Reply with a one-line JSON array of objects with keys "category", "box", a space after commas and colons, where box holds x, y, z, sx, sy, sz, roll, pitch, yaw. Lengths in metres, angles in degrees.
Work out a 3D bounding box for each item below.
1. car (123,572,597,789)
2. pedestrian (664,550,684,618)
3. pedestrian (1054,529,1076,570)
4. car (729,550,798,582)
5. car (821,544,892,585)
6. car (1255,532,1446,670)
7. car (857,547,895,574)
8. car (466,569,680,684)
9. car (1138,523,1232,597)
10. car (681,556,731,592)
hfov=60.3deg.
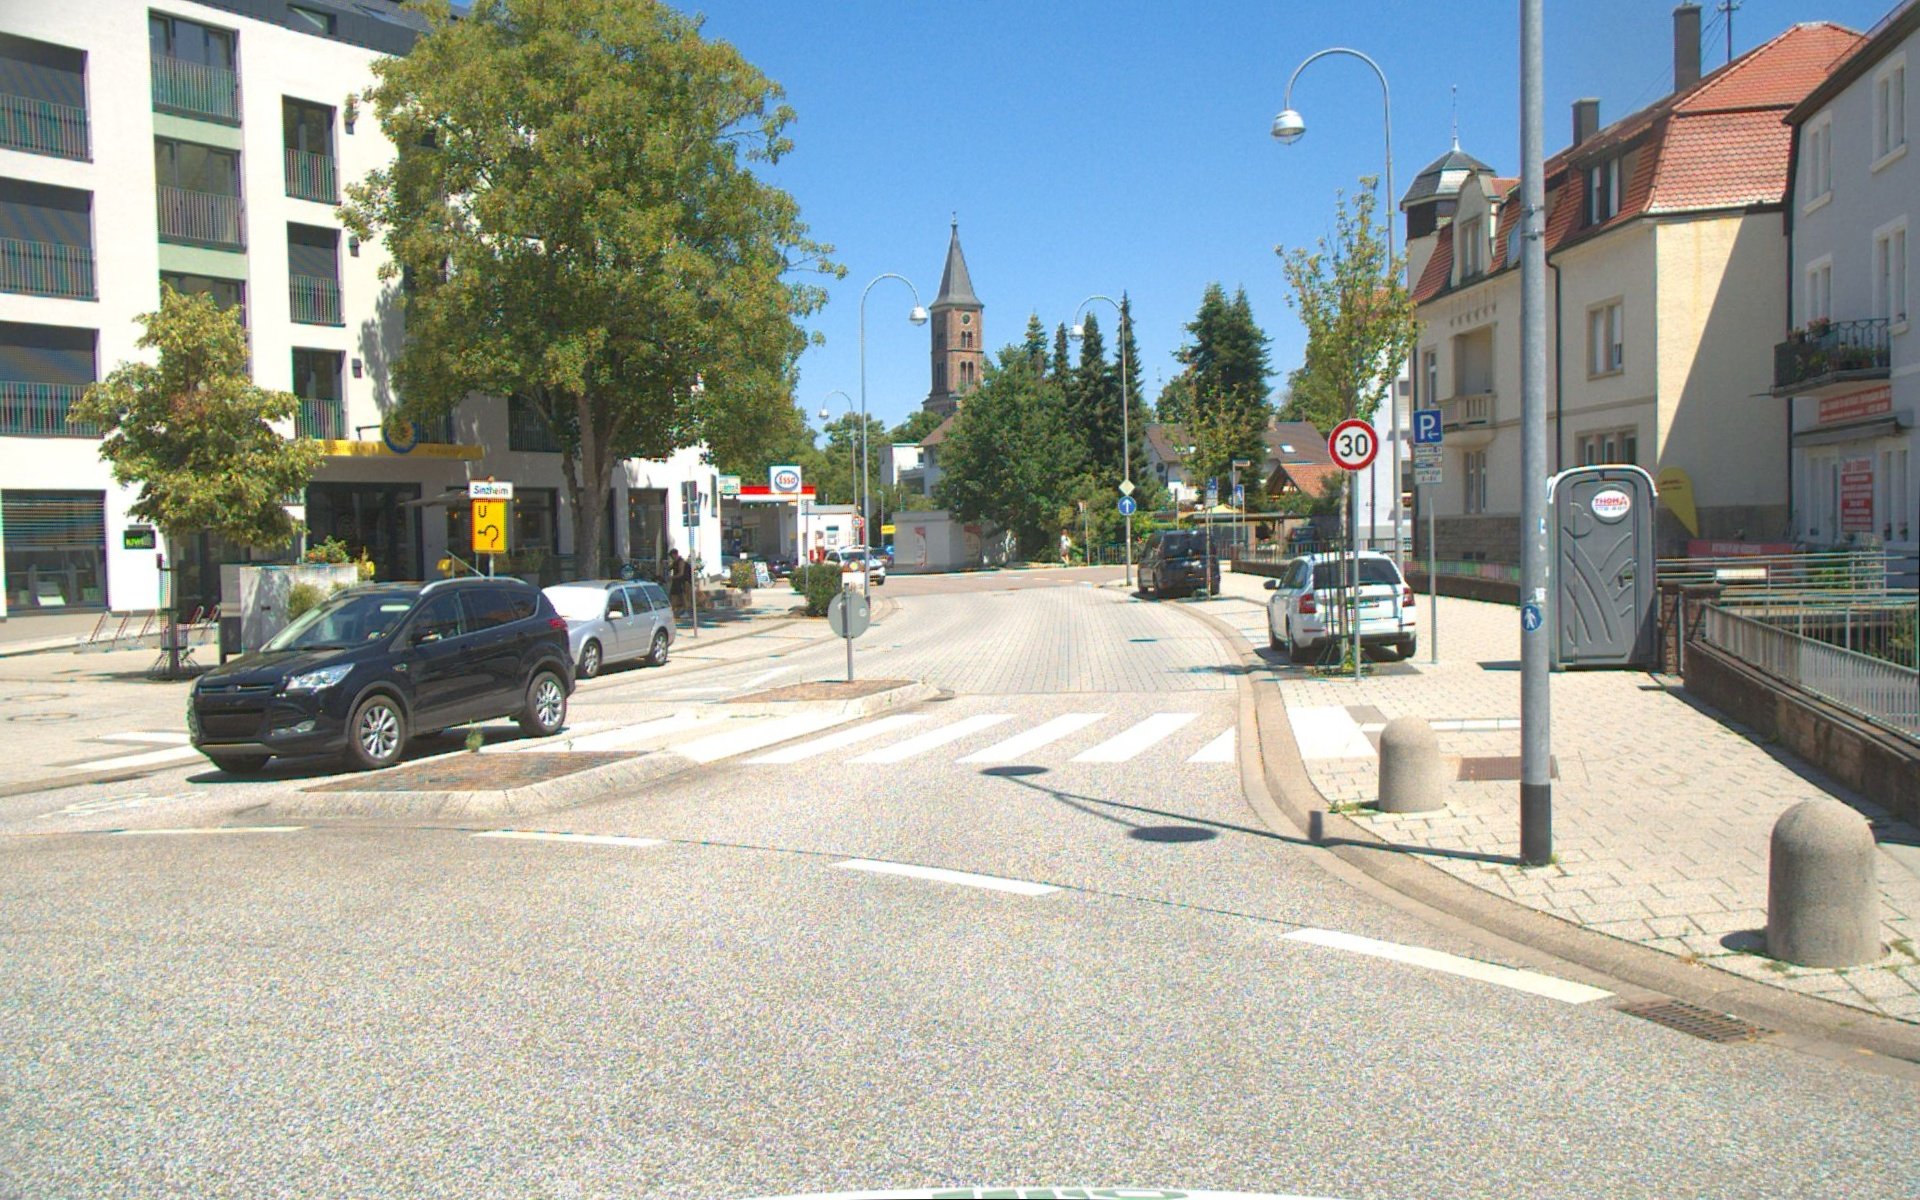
[{"category": "car", "box": [-5.730, 0.683, 16.518, 1.952, 1.717, 4.529, -2, 2, 19]}, {"category": "pedestrian", "box": [-7.185, -0.413, 41.577, 0.397, 1.656, 0.651, -1, 4, -3]}, {"category": "pedestrian", "box": [4.795, -2.312, 75.293, 0.835, 1.845, 0.543, -3, 5, -32]}, {"category": "car", "box": [-10.380, -1.790, 87.215, 1.819, 1.601, 3.945, -4, 2, -38]}, {"category": "car", "box": [-4.434, -1.544, 70.274, 1.806, 1.601, 3.973, -4, 3, -22]}, {"category": "car", "box": [5.495, -0.063, 23.836, 1.952, 1.611, 4.290, -6, 1, 5]}, {"category": "car", "box": [-4.671, -2.176, 91.535, 1.513, 1.402, 3.989, -3, 2, -11]}, {"category": "car", "box": [-6.322, 0.369, 27.473, 1.757, 1.617, 4.004, 1, 3, 15]}, {"category": "car", "box": [6.360, -1.187, 47.128, 1.953, 1.896, 4.287, -1, 4, -2]}, {"category": "car", "box": [-11.937, -1.242, 77.572, 1.801, 1.601, 3.984, -3, 2, -15]}]
